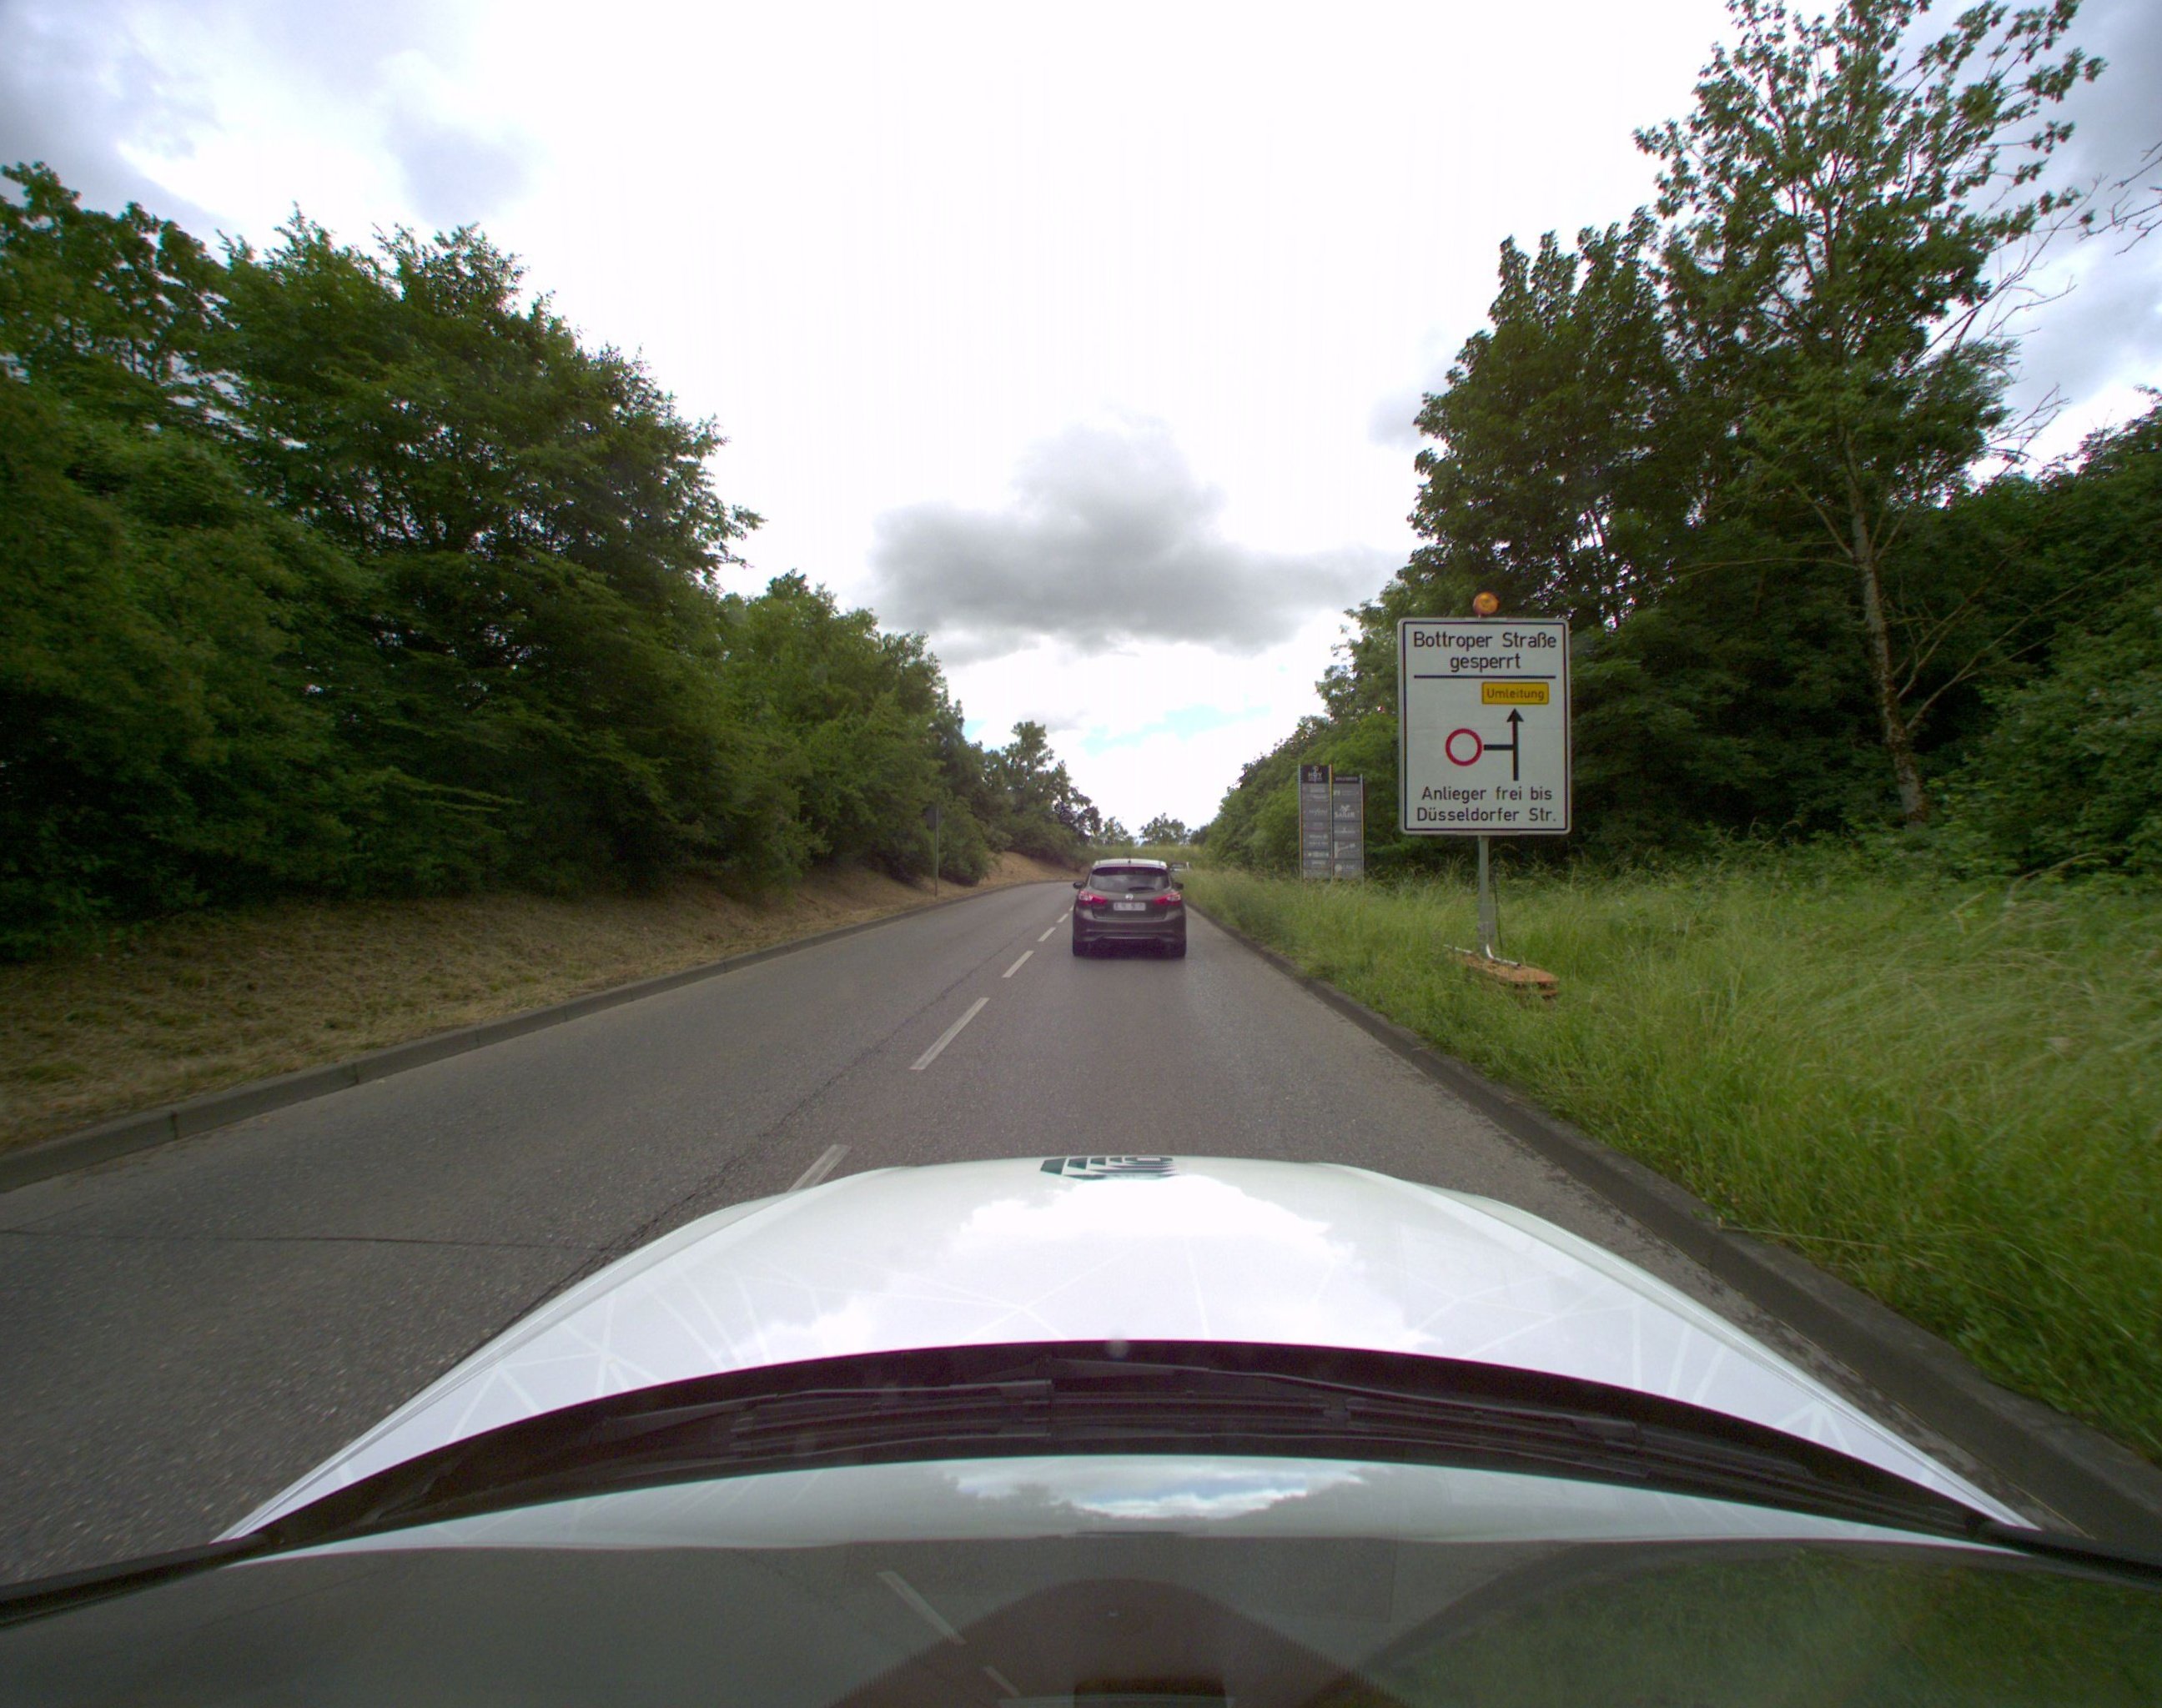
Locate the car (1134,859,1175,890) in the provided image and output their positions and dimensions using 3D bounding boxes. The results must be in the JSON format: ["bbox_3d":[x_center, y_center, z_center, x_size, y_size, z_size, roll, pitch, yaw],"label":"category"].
[{"bbox_3d":[3.822,1.030,41.845,1.709,1.494,3.588,-1,0,12],"label":"car"}]

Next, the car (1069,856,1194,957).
[{"bbox_3d":[0.755,0.780,13.994,1.838,1.493,4.000,0,0,0],"label":"car"}]

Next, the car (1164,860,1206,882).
[{"bbox_3d":[7.212,1.132,56.276,1.781,1.398,4.023,-1,0,24],"label":"car"}]

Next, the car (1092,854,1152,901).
[{"bbox_3d":[1.378,0.773,28.755,1.839,1.493,4.226,-1,0,0],"label":"car"}]
